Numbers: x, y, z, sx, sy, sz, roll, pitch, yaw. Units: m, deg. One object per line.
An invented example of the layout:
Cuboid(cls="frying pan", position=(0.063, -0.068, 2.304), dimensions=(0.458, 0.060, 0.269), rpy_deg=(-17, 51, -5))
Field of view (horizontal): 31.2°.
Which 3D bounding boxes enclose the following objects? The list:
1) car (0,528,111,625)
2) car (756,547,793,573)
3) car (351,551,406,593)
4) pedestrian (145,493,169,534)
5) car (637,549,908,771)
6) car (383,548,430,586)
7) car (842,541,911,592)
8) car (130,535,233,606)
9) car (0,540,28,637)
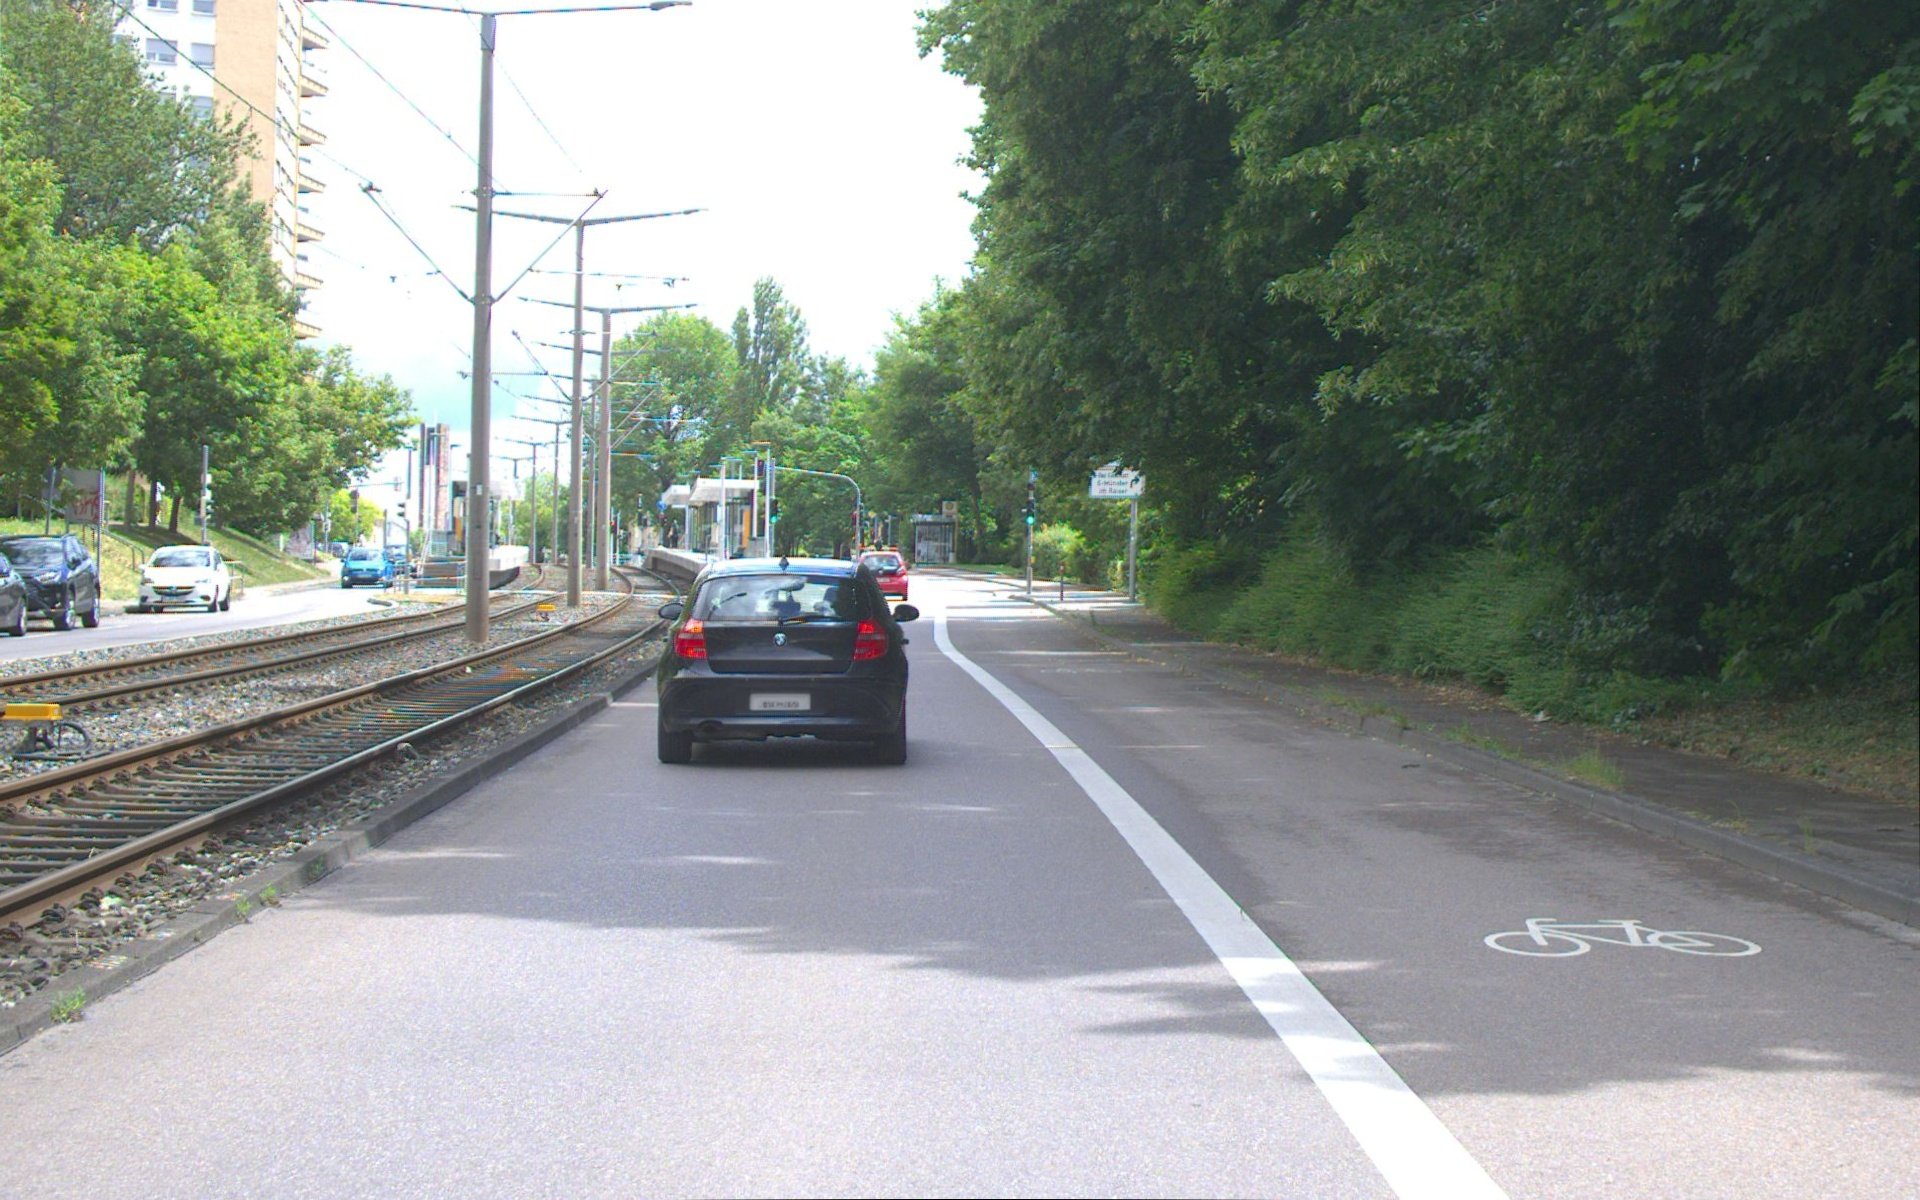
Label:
Cuboid(cls="car", position=(-16.009, -0.397, 59.541), dimensions=(1.774, 1.624, 4.383), rpy_deg=(0, 0, -4))
Cuboid(cls="car", position=(-10.682, -2.301, 197.748), dimensions=(1.909, 1.454, 4.003), rpy_deg=(1, 1, -7))
Cuboid(cls="car", position=(-20.645, -1.003, 121.961), dimensions=(1.715, 1.437, 3.944), rpy_deg=(0, 1, -12))
Cuboid(cls="pedestrian", position=(-29.675, -3.197, 126.993), dimensions=(0.634, 1.529, 0.634), rpy_deg=(0, 1, 17))
Cuboid(cls="car", position=(-1.347, 0.367, 24.758), dimensions=(1.781, 1.454, 3.921), rpy_deg=(0, 1, -3))
Cuboid(cls="car", position=(-23.504, -1.418, 146.095), dimensions=(1.715, 1.559, 3.698), rpy_deg=(1, 1, -5))
Cuboid(cls="car", position=(-2.489, -1.012, 101.790), dimensions=(1.781, 1.454, 3.922), rpy_deg=(1, 1, -5))
Cuboid(cls="car", position=(-17.320, -0.672, 76.653), dimensions=(1.781, 1.527, 4.245), rpy_deg=(0, 1, -7))
Cuboid(cls="car", position=(-15.639, -0.185, 52.804), dimensions=(1.774, 1.493, 3.998), rpy_deg=(1, 1, -4))
